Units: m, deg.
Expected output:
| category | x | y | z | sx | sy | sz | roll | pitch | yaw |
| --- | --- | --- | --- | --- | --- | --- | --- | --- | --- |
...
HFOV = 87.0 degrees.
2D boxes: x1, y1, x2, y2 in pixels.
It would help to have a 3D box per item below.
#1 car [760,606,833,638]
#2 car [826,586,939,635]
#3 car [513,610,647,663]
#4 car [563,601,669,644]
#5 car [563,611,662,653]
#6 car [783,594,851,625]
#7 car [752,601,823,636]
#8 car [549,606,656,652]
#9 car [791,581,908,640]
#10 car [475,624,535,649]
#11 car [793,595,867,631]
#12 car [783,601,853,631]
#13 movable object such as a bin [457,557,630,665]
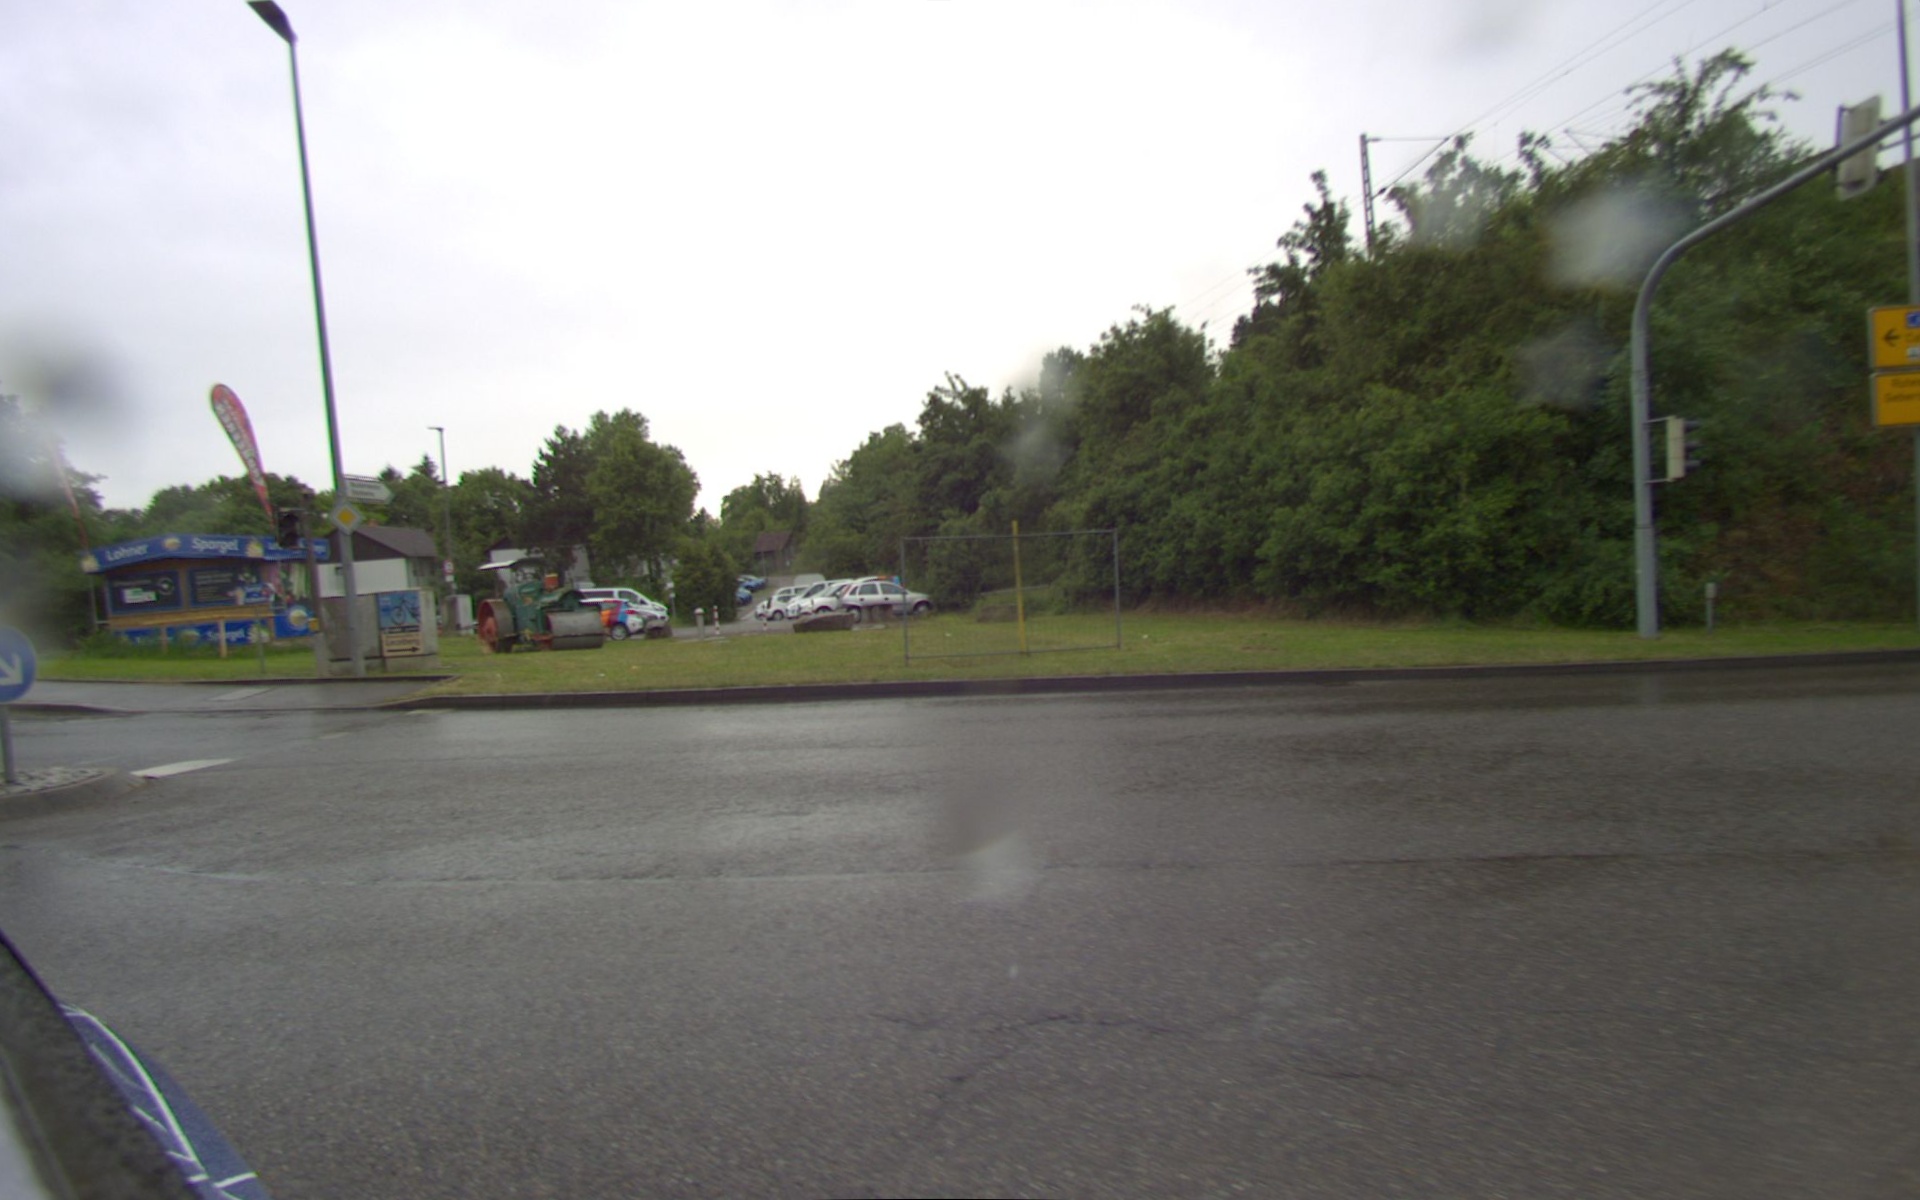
| category | x | y | z | sx | sy | sz | roll | pitch | yaw |
| --- | --- | --- | --- | --- | --- | --- | --- | --- | --- |
| car | -9.227 | 1.233 | 57.092 | 3.816 | 1.640 | 1.699 | -2 | 0 | -15 |
| car | -2.791 | 0.362 | 36.100 | 3.762 | 1.580 | 1.779 | -2 | 0 | -12 |
| car | -12.608 | 1.184 | 33.806 | 3.934 | 1.586 | 1.674 | -2 | 0 | -11 |
| car | -15.569 | 0.998 | 45.983 | 4.318 | 1.779 | 1.926 | -2 | 0 | -10 |
| car | -14.010 | 1.275 | 40.913 | 3.568 | 1.522 | 1.596 | -2 | 0 | -10 |
| car | -7.719 | 0.496 | 54.577 | 3.422 | 1.551 | 1.451 | -2 | 0 | -13 |
| car | -10.125 | 1.048 | 59.428 | 3.896 | 1.893 | 1.699 | -2 | 0 | -15 |
| car | -13.606 | 1.069 | 38.679 | 3.650 | 1.586 | 1.596 | -2 | 0 | -10 |
| car | -4.192 | 0.380 | 38.186 | 4.166 | 1.995 | 1.909 | -2 | 0 | -12 |
| car | -31.592 | 2.516 | 70.337 | 1.563 | 1.522 | 3.567 | -2 | 0 | 30 |
| car | -6.140 | 0.606 | 47.729 | 3.308 | 1.551 | 1.451 | -2 | 0 | -10 |
| car | -7.339 | 0.827 | 52.330 | 3.422 | 1.409 | 1.451 | -2 | 0 | -13 |
| movable object such as a bin | -11.725 | 0.379 | 28.260 | 5.704 | 2.706 | 2.278 | -4 | -1 | 43 |
